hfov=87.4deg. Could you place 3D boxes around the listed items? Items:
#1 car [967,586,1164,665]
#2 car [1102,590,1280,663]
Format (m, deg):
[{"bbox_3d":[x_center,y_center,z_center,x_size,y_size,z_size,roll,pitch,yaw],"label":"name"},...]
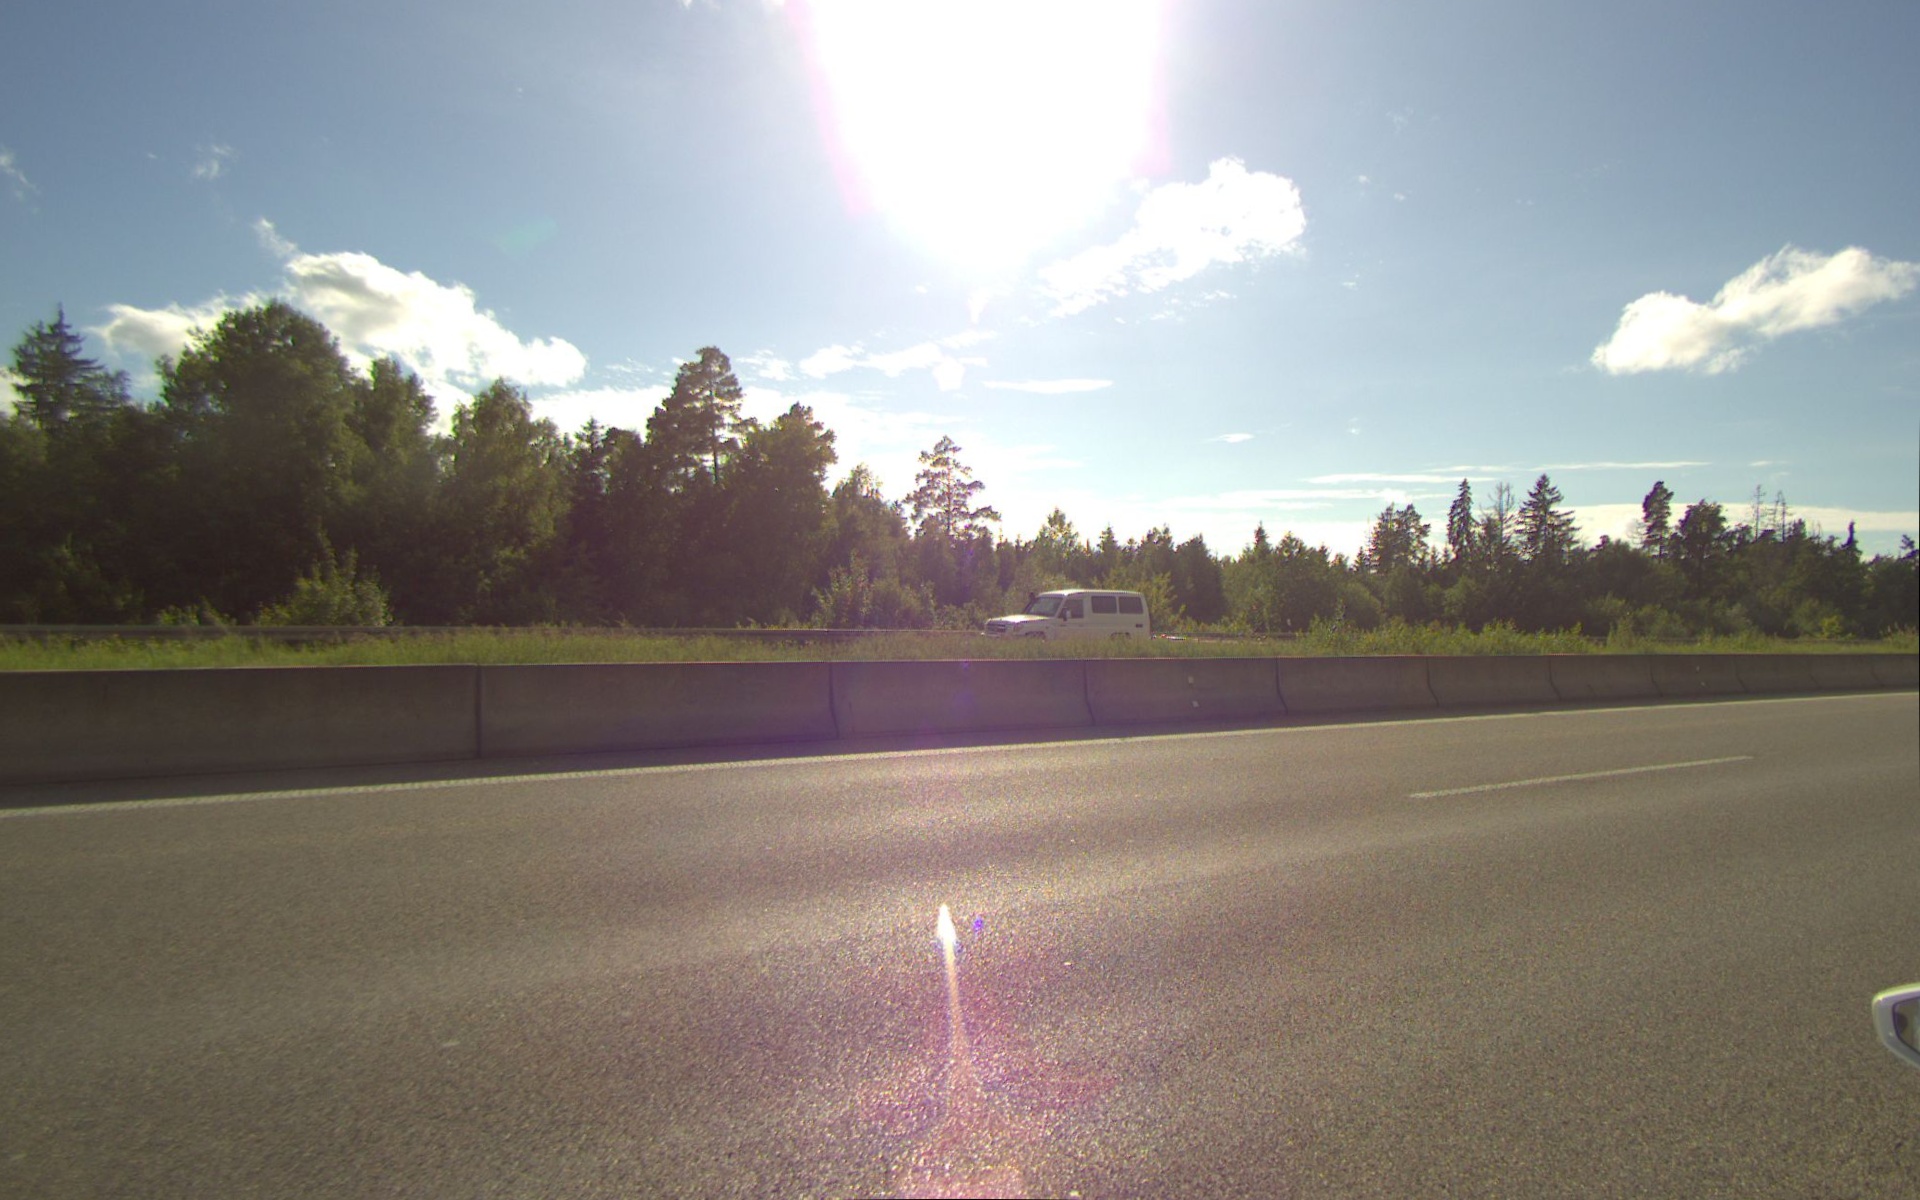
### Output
[{"bbox_3d":[2.994,0.701,28.128,5.323,2.040,1.984,1,0,-30],"label":"car"},{"bbox_3d":[7.039,0.797,30.469,5.323,2.040,1.984,1,0,-30],"label":"car"}]
